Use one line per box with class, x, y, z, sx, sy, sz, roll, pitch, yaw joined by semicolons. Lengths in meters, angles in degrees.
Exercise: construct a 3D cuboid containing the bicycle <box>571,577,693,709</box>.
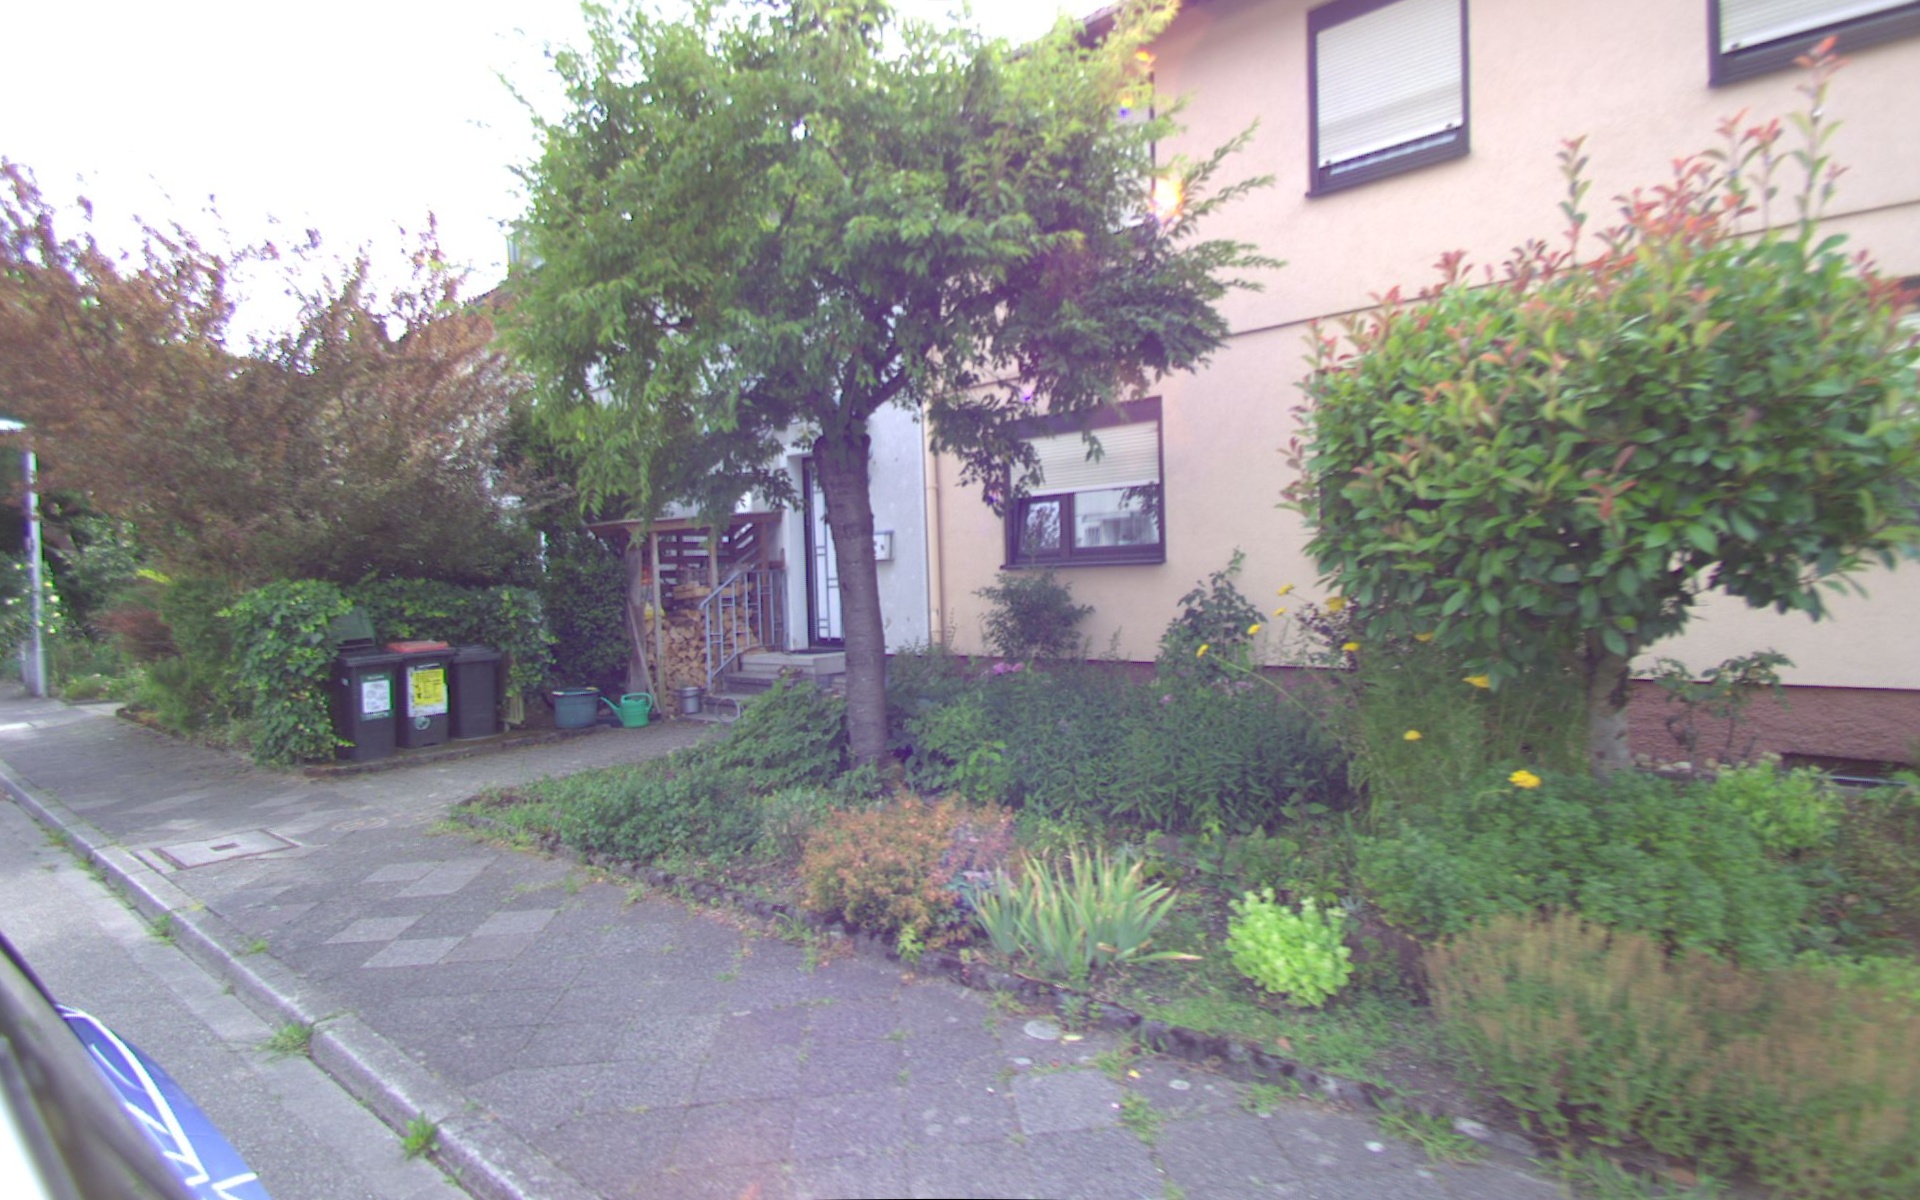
bicycle;-3.790;0.473;11.614;1.848;1.406;0.427;-1;1;42
